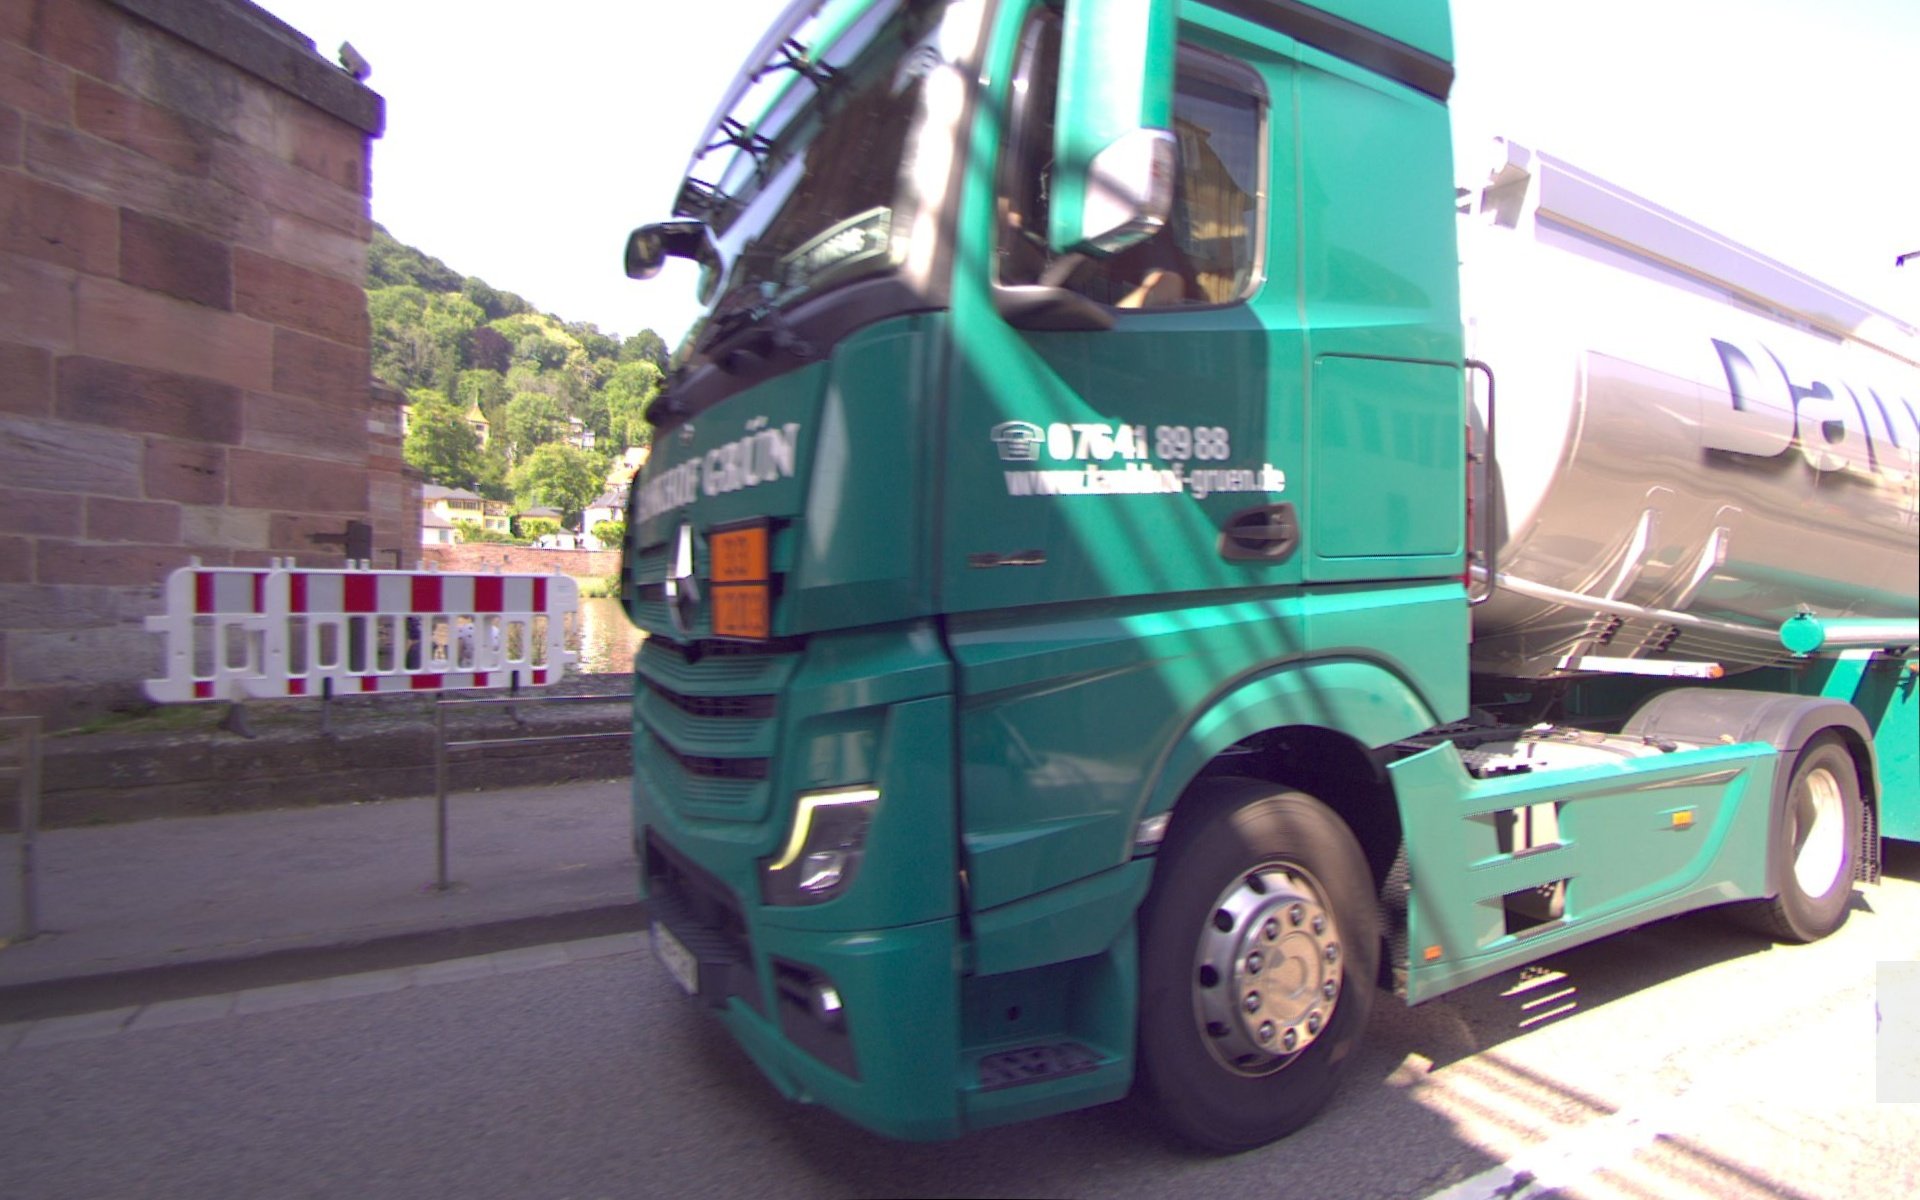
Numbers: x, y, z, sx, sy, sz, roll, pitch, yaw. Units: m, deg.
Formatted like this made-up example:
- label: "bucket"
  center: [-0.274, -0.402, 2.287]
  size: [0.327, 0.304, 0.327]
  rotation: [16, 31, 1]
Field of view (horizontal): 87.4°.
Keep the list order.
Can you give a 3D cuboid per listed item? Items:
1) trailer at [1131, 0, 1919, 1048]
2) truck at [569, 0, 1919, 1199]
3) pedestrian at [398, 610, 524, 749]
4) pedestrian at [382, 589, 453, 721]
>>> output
- label: "trailer"
  center: [6.428, -0.215, 7.668]
  size: [11.403, 3.692, 2.510]
  rotation: [1, -1, -32]
- label: "truck"
  center: [1.680, -0.379, 4.628]
  size: [6.174, 3.798, 2.511]
  rotation: [0, -1, -31]
- label: "pedestrian"
  center: [-4.892, 0.742, 9.847]
  size: [1.015, 1.246, 0.783]
  rotation: [0, 2, -34]
- label: "pedestrian"
  center: [-7.204, 0.693, 13.327]
  size: [0.766, 1.673, 0.783]
  rotation: [0, 2, -34]
